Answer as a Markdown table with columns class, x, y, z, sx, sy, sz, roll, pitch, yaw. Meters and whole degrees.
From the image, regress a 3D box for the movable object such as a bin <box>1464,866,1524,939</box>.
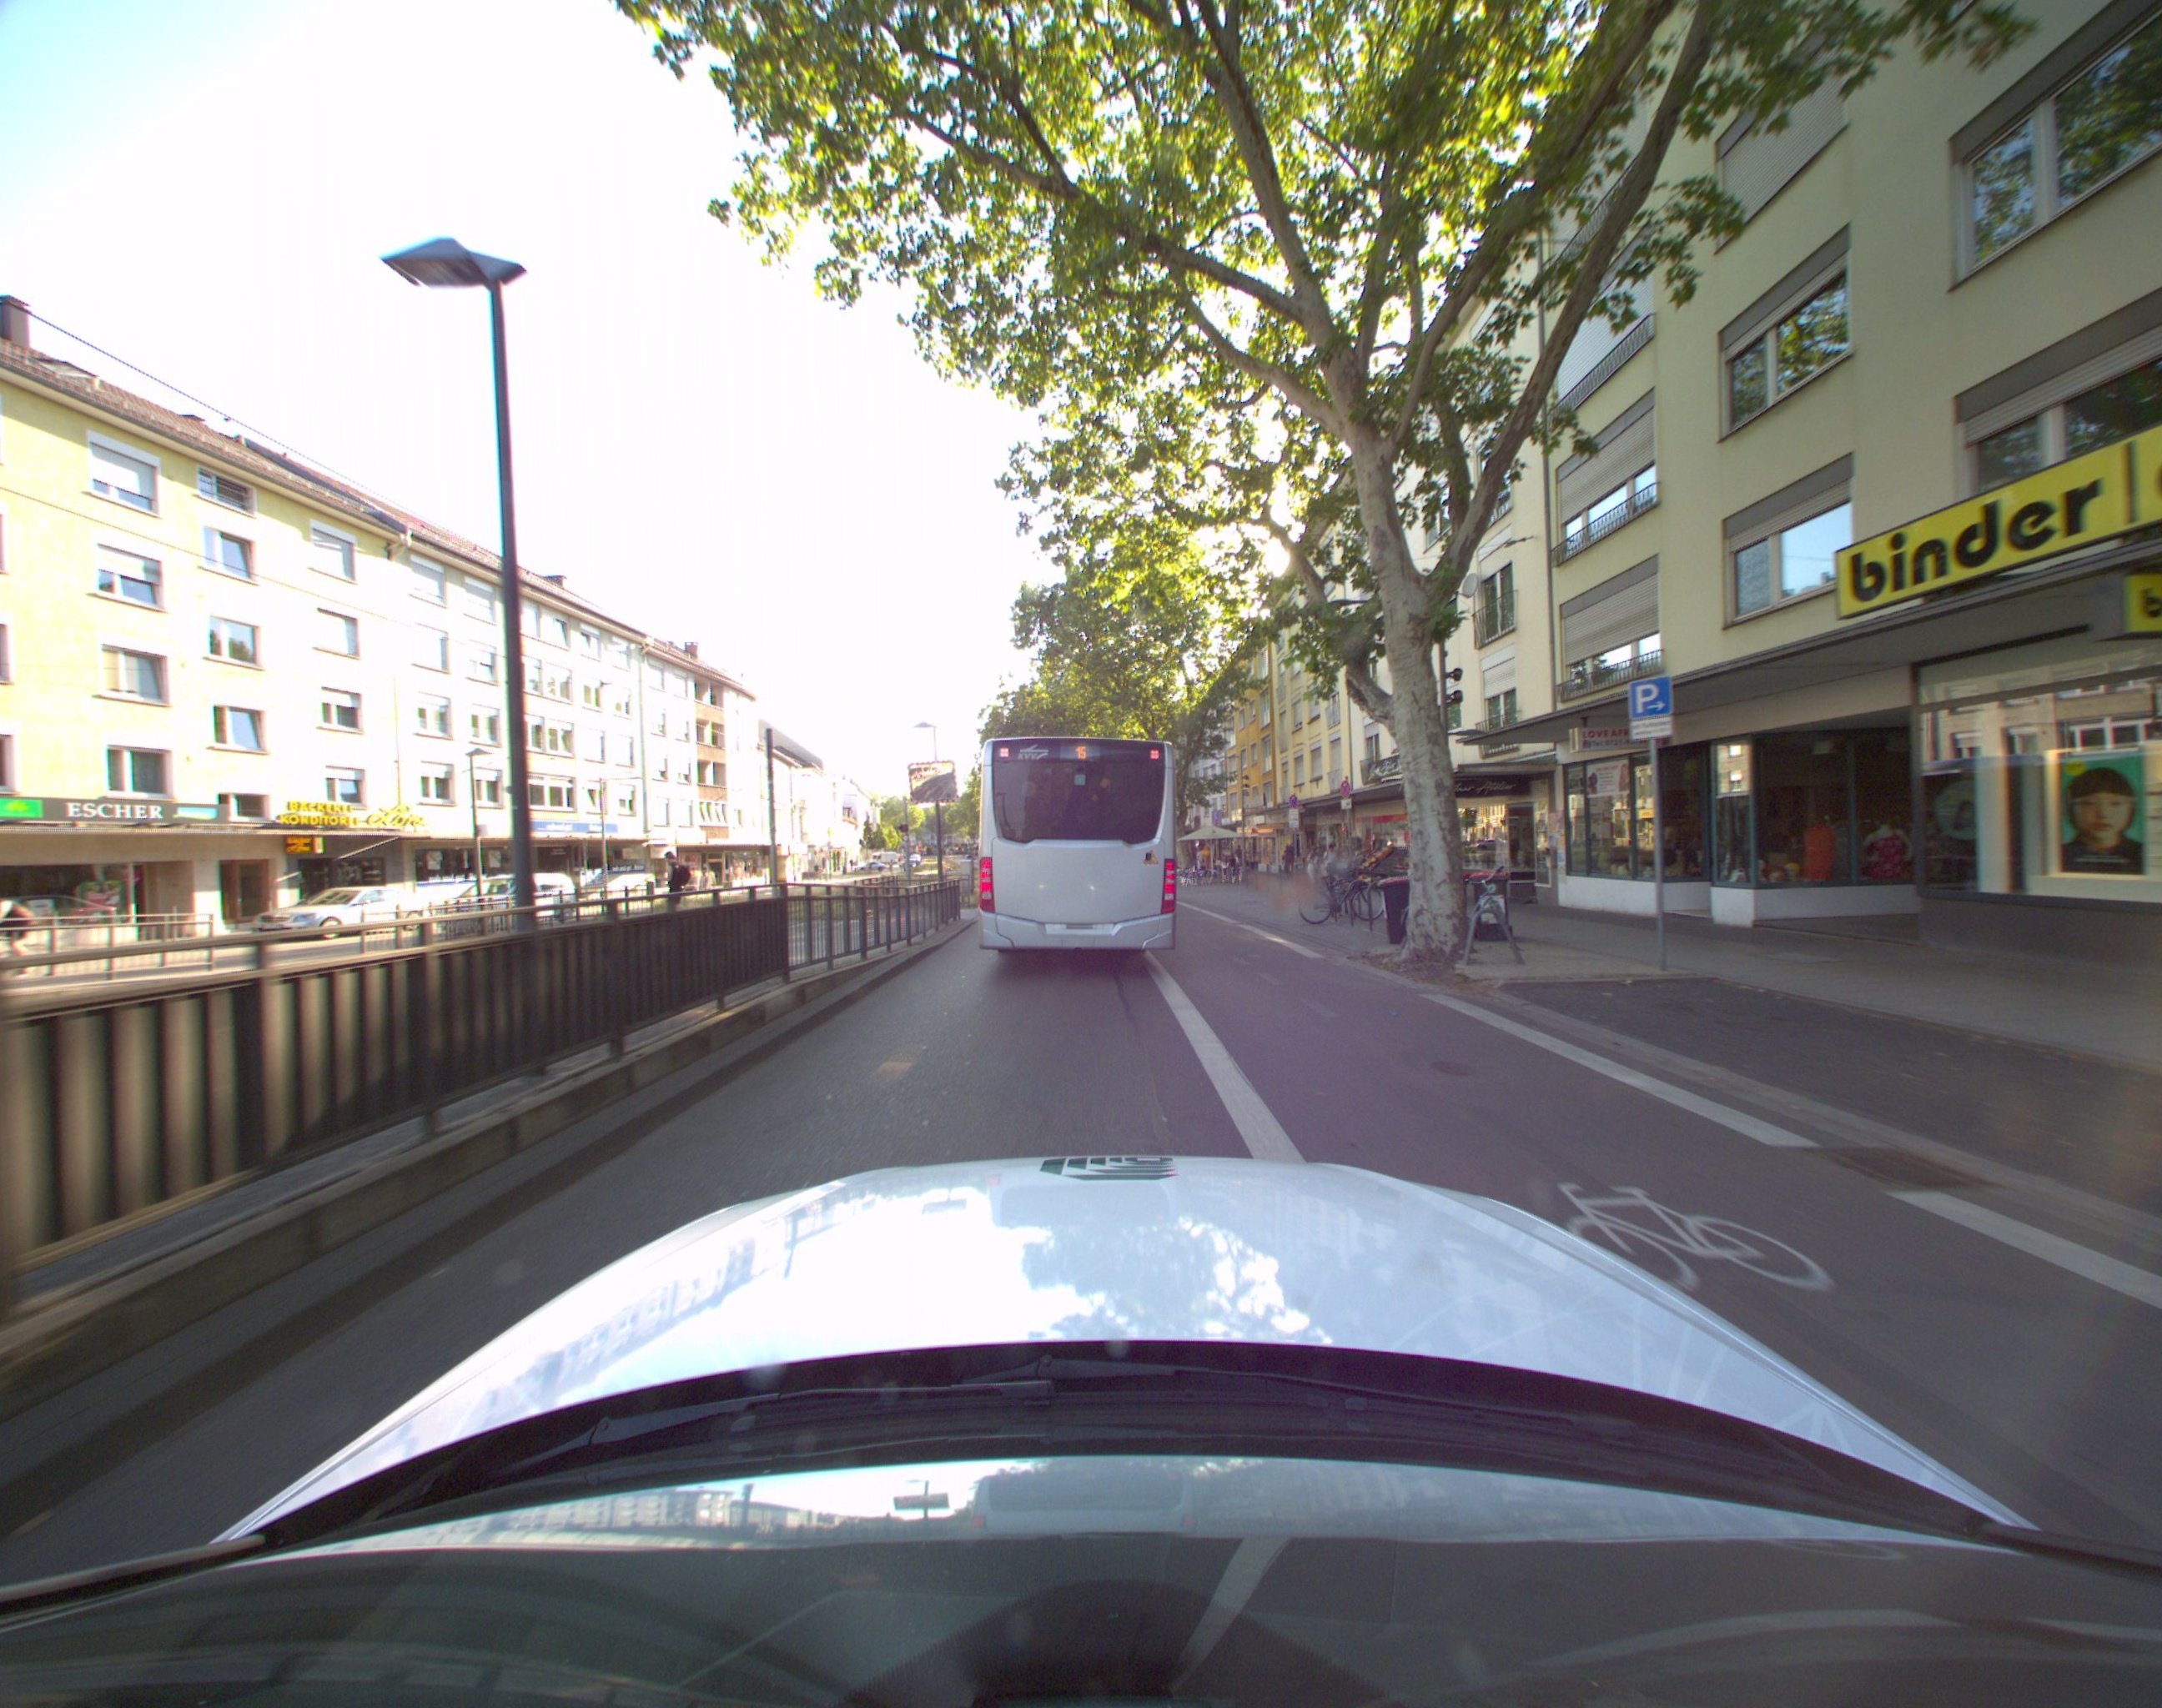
| class | x | y | z | sx | sy | sz | roll | pitch | yaw |
| --- | --- | --- | --- | --- | --- | --- | --- | --- | --- |
| movable object such as a bin | 6.563 | 0.763 | 12.961 | 0.716 | 1.072 | 0.647 | -4 | -1 | 20 |

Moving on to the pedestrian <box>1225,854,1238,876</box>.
| class | x | y | z | sx | sy | sz | roll | pitch | yaw |
| --- | --- | --- | --- | --- | --- | --- | --- | --- | --- |
| pedestrian | 8.509 | 0.623 | 46.066 | 0.582 | 1.275 | 0.757 | 0 | 0 | -5 |

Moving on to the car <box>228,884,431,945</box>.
| class | x | y | z | sx | sy | sz | roll | pitch | yaw |
| --- | --- | --- | --- | --- | --- | --- | --- | --- | --- |
| car | -22.016 | 1.707 | 24.163 | 1.988 | 1.478 | 4.408 | 0 | 0 | -1 |

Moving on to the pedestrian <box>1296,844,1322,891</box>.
| class | x | y | z | sx | sy | sz | roll | pitch | yaw |
| --- | --- | --- | --- | --- | --- | --- | --- | --- | --- |
| pedestrian | 8.018 | 0.483 | 28.677 | 0.633 | 1.586 | 0.626 | -4 | 0 | 0 |

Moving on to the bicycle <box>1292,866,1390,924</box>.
| class | x | y | z | sx | sy | sz | roll | pitch | yaw |
| --- | --- | --- | --- | --- | --- | --- | --- | --- | --- |
| bicycle | 5.595 | 0.885 | 17.612 | 1.896 | 1.105 | 0.519 | -4 | 0 | 7 |

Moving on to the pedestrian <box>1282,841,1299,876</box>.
| class | x | y | z | sx | sy | sz | roll | pitch | yaw |
| --- | --- | --- | --- | --- | --- | --- | --- | --- | --- |
| pedestrian | 10.820 | 0.221 | 42.131 | 0.629 | 1.804 | 0.630 | -2 | 0 | 30 |

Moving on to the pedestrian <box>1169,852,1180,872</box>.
| class | x | y | z | sx | sy | sz | roll | pitch | yaw |
| --- | --- | --- | --- | --- | --- | --- | --- | --- | --- |
| pedestrian | 8.405 | 0.706 | 73.120 | 0.779 | 1.794 | 0.763 | -2 | 0 | -6 |

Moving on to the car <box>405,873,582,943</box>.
| class | x | y | z | sx | sy | sz | roll | pitch | yaw |
| --- | --- | --- | --- | --- | --- | --- | --- | --- | --- |
| car | -17.345 | 1.518 | 24.366 | 1.987 | 1.717 | 4.436 | -2 | 0 | 0 |

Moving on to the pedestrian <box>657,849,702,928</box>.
| class | x | y | z | sx | sy | sz | roll | pitch | yaw |
| --- | --- | --- | --- | --- | --- | --- | --- | --- | --- |
| pedestrian | -9.782 | 0.824 | 19.851 | 0.740 | 1.848 | 0.589 | -2 | 0 | -4 |

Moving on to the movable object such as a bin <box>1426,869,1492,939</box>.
| class | x | y | z | sx | sy | sz | roll | pitch | yaw |
| --- | --- | --- | --- | --- | --- | --- | --- | --- | --- |
| movable object such as a bin | 6.227 | 0.810 | 13.437 | 0.720 | 1.072 | 0.644 | -4 | -1 | -1 |

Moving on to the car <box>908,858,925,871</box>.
| class | x | y | z | sx | sy | sz | roll | pitch | yaw |
| --- | --- | --- | --- | --- | --- | --- | --- | --- | --- |
| car | -22.156 | 1.395 | 109.972 | 1.719 | 1.509 | 3.470 | -4 | 0 | -5 |

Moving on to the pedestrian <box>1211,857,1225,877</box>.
| class | x | y | z | sx | sy | sz | roll | pitch | yaw |
| --- | --- | --- | --- | --- | --- | --- | --- | --- | --- |
| pedestrian | 7.856 | 0.751 | 46.716 | 0.582 | 1.115 | 0.749 | 0 | 0 | -5 |

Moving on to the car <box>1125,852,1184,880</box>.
| class | x | y | z | sx | sy | sz | roll | pitch | yaw |
| --- | --- | --- | --- | --- | --- | --- | --- | --- | --- |
| car | 4.614 | 0.727 | 50.548 | 1.720 | 1.540 | 3.630 | -2 | 0 | 44 |

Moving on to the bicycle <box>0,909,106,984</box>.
| class | x | y | z | sx | sy | sz | roll | pitch | yaw |
| --- | --- | --- | --- | --- | --- | --- | --- | --- | --- |
| bicycle | -19.792 | 1.740 | 15.058 | 0.715 | 1.230 | 2.278 | -3 | 0 | 1 |

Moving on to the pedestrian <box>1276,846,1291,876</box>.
| class | x | y | z | sx | sy | sz | roll | pitch | yaw |
| --- | --- | --- | --- | --- | --- | --- | --- | --- | --- |
| pedestrian | 10.899 | 0.375 | 43.769 | 0.619 | 1.546 | 0.641 | -2 | 0 | 25 |

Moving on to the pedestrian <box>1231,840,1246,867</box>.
| class | x | y | z | sx | sy | sz | roll | pitch | yaw |
| --- | --- | --- | --- | --- | --- | --- | --- | --- | --- |
| pedestrian | 10.854 | -0.019 | 56.141 | 0.704 | 1.791 | 0.788 | -5 | 0 | 0 |

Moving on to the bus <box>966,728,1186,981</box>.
| class | x | y | z | sx | sy | sz | roll | pitch | yaw |
| --- | --- | --- | --- | --- | --- | --- | --- | --- | --- |
| bus | -0.067 | -0.009 | 13.573 | 2.669 | 3.083 | 7.112 | -1 | 0 | 0 |

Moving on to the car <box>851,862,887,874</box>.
| class | x | y | z | sx | sy | sz | roll | pitch | yaw |
| --- | --- | --- | --- | --- | --- | --- | --- | --- | --- |
| car | -30.276 | 1.989 | 116.179 | 4.577 | 1.412 | 1.976 | -2 | 0 | -42 |

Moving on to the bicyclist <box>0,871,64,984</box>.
| class | x | y | z | sx | sy | sz | roll | pitch | yaw |
| --- | --- | --- | --- | --- | --- | --- | --- | --- | --- |
| bicyclist | -19.810 | 1.345 | 15.062 | 0.761 | 2.013 | 0.911 | -3 | 0 | 0 |

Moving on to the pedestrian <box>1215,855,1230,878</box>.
| class | x | y | z | sx | sy | sz | roll | pitch | yaw |
| --- | --- | --- | --- | --- | --- | --- | --- | --- | --- |
| pedestrian | 7.721 | 0.699 | 44.367 | 0.605 | 1.225 | 0.744 | -2 | 0 | -5 |

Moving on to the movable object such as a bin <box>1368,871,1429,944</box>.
| class | x | y | z | sx | sy | sz | roll | pitch | yaw |
| --- | --- | --- | --- | --- | --- | --- | --- | --- | --- |
| movable object such as a bin | 5.262 | 0.875 | 13.551 | 0.718 | 1.102 | 0.645 | -6 | -1 | 8 |

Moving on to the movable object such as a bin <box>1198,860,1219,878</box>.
| class | x | y | z | sx | sy | sz | roll | pitch | yaw |
| --- | --- | --- | --- | --- | --- | --- | --- | --- | --- |
| movable object such as a bin | 7.440 | 0.868 | 47.605 | 0.931 | 1.023 | 0.832 | 0 | 0 | -28 |

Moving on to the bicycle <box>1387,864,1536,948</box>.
| class | x | y | z | sx | sy | sz | roll | pitch | yaw |
| --- | --- | --- | --- | --- | --- | --- | --- | --- | --- |
| bicycle | 5.248 | 0.714 | 11.329 | 1.711 | 1.118 | 0.746 | 0 | -4 | 2 |

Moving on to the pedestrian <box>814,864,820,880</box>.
| class | x | y | z | sx | sy | sz | roll | pitch | yaw |
| --- | --- | --- | --- | --- | --- | --- | --- | --- | --- |
| pedestrian | -28.558 | 1.925 | 88.087 | 0.424 | 1.713 | 0.507 | -2 | 0 | -2 |

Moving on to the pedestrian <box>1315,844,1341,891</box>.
| class | x | y | z | sx | sy | sz | roll | pitch | yaw |
| --- | --- | --- | --- | --- | --- | --- | --- | --- | --- |
| pedestrian | 8.740 | 0.472 | 28.783 | 0.620 | 1.586 | 0.627 | -4 | 0 | 0 |
